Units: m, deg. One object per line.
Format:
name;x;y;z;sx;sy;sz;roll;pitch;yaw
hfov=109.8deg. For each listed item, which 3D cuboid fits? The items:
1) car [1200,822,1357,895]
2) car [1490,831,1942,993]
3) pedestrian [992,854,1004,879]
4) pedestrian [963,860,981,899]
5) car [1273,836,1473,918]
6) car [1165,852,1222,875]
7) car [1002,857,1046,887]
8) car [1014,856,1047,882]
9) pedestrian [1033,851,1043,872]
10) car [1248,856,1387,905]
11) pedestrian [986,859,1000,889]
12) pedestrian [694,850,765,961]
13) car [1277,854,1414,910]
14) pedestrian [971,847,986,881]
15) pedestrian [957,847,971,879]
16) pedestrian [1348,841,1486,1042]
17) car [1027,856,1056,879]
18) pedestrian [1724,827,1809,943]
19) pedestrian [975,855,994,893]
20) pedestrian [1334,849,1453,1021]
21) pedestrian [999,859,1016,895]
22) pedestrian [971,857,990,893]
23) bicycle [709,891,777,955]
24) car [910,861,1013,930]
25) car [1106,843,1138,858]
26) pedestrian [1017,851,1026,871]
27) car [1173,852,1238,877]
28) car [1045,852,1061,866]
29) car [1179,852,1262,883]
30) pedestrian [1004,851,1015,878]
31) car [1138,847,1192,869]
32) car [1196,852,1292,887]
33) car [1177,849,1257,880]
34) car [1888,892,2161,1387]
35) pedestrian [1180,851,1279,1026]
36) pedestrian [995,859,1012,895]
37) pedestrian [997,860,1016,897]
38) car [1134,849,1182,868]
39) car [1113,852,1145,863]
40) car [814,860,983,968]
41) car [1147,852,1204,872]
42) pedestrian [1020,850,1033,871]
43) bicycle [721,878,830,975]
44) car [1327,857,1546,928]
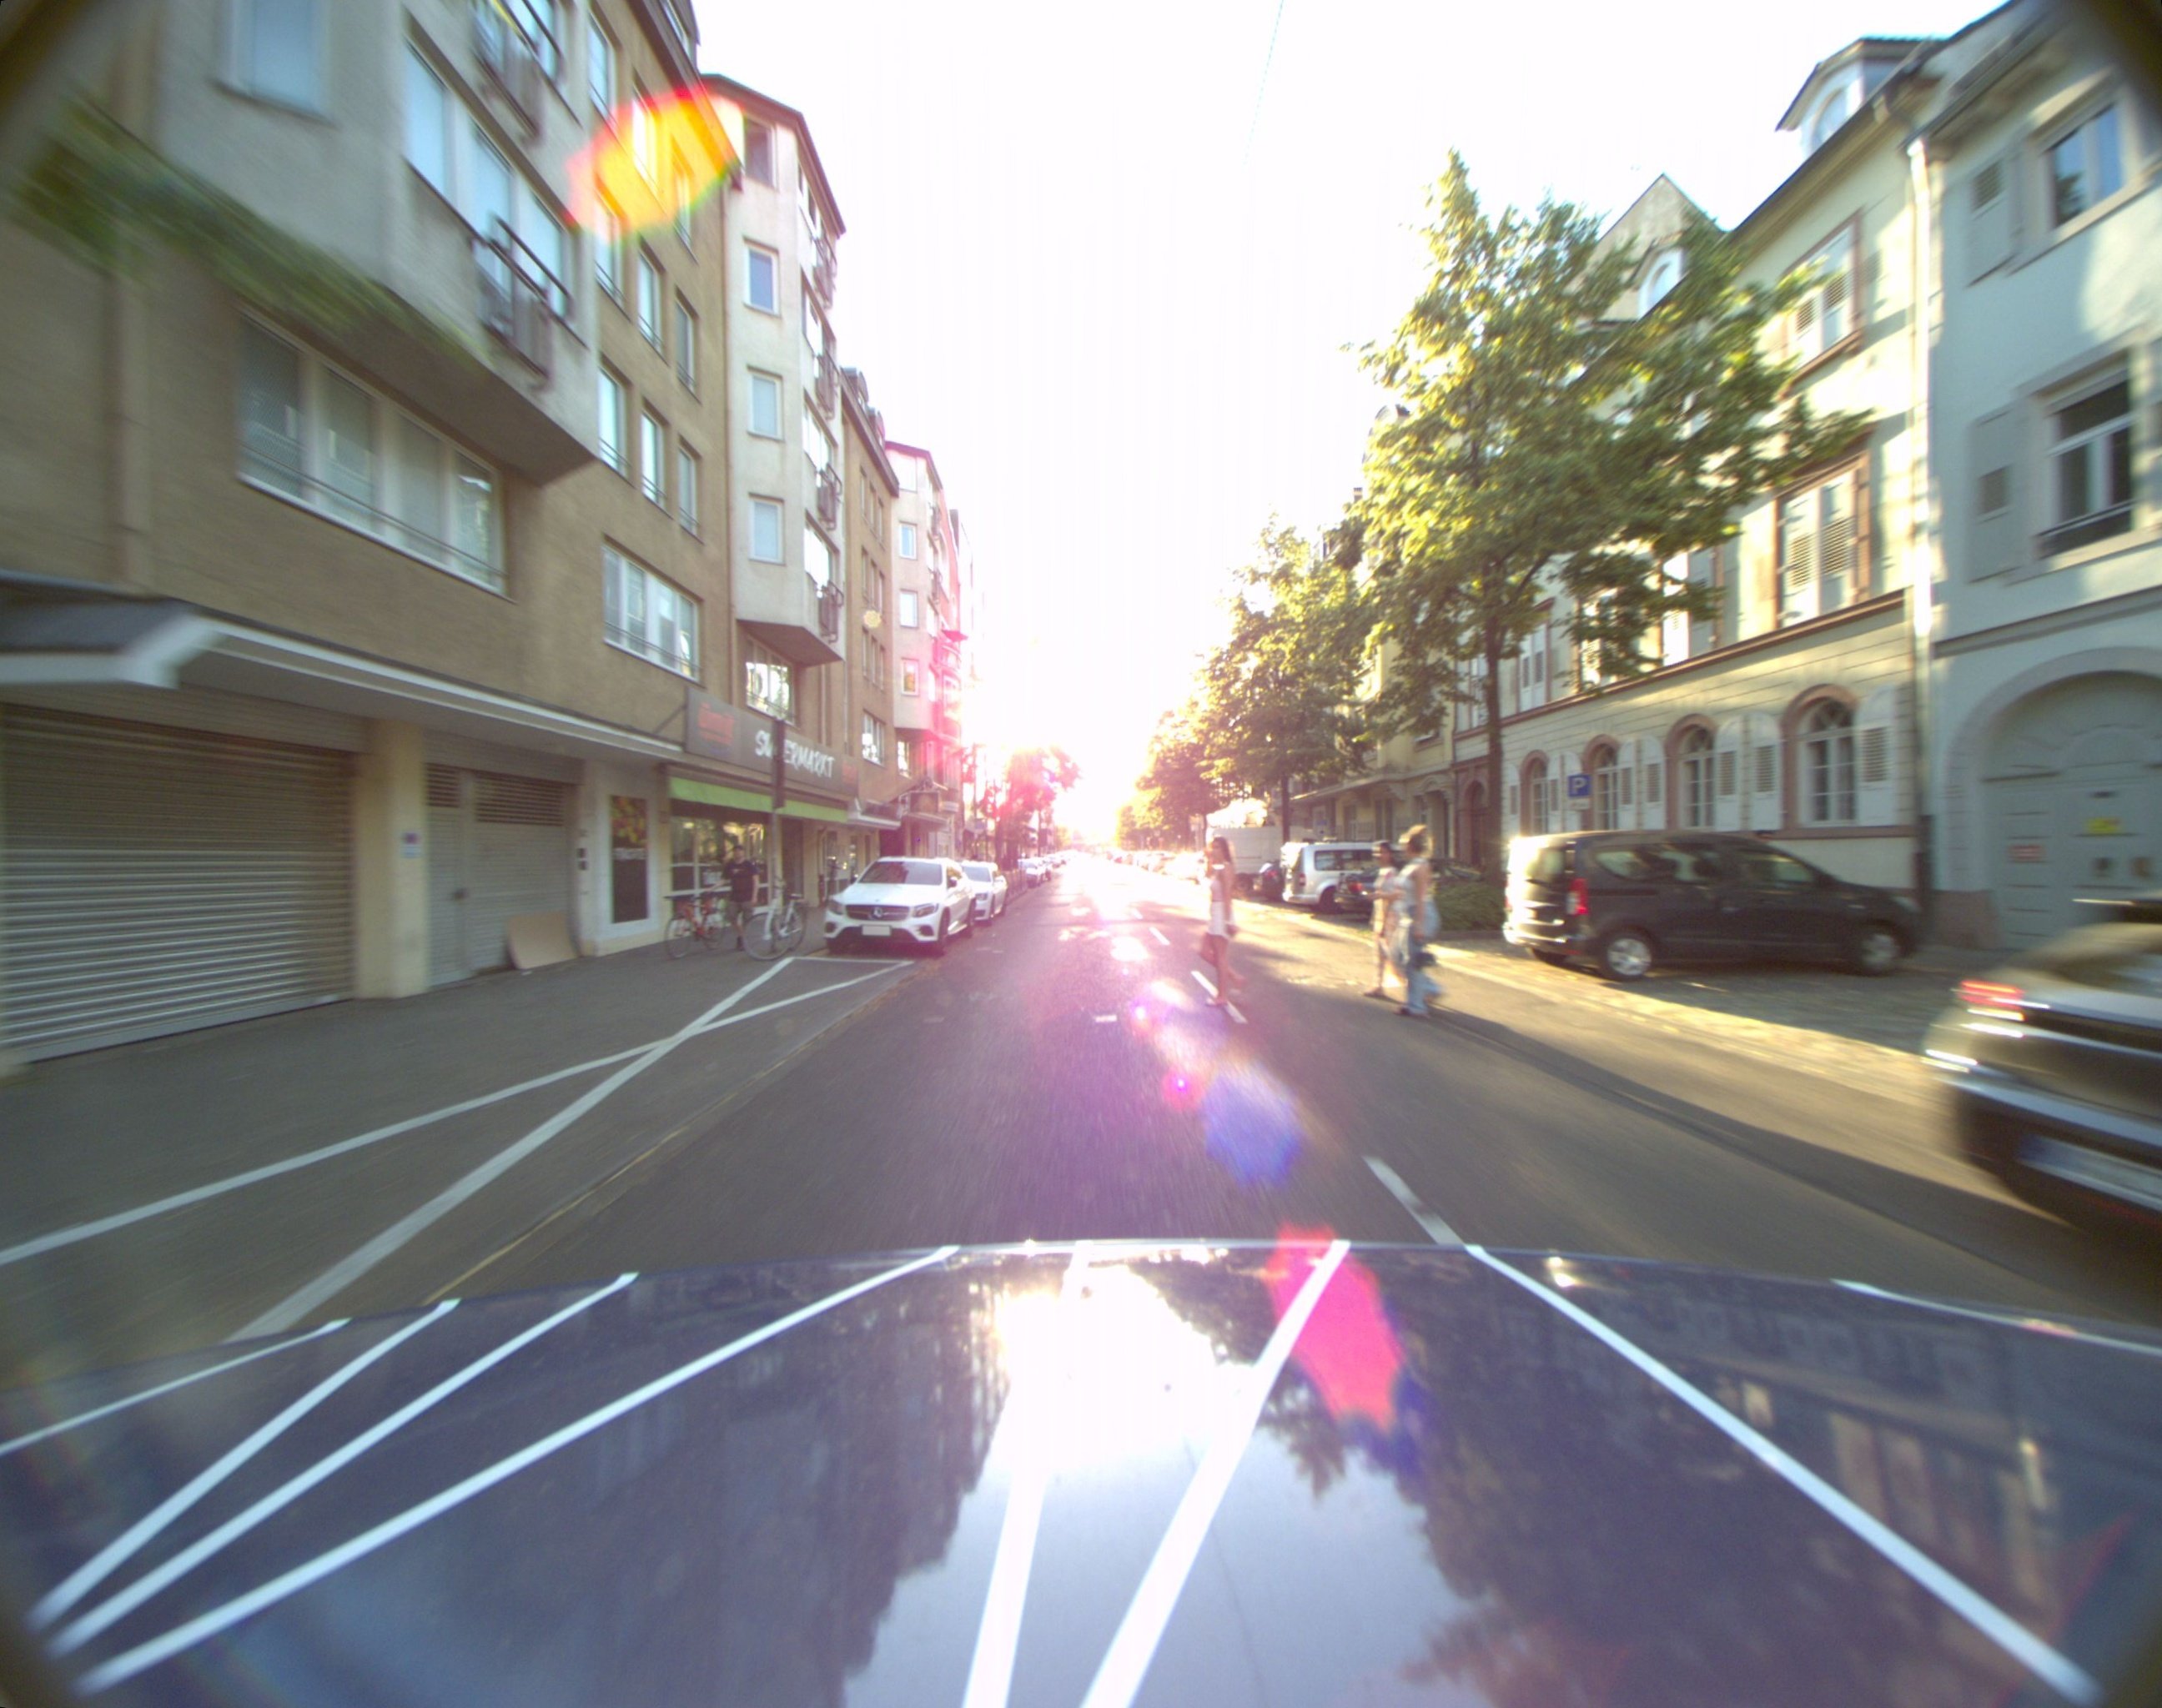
car;7.830;0.184;30.579;5.673;2.606;2.171;-2;0;0
car;7.730;0.675;9.594;4.148;1.796;1.807;-1;0;2
pedestrian;-5.062;0.745;46.242;0.626;1.480;0.640;0;1;1
pedestrian;-3.983;0.930;27.787;0.579;1.376;0.603;1;1;0
car;7.537;0.580;19.961;4.510;1.942;1.919;-1;0;2
car;8.069;0.685;54.670;3.794;1.440;1.789;-3;0;2
car;-2.980;0.926;40.828;1.779;1.431;5.000;1;0;2
car;-3.076;0.917;47.199;1.779;1.462;4.417;1;0;0
pedestrian;-3.767;0.652;66.521;0.731;1.775;0.870;3;1;0
car;7.715;0.842;25.018;3.997;1.396;1.749;-2;1;-1
pedestrian;-4.003;0.891;34.488;0.549;1.337;0.438;1;1;0
pedestrian;-5.521;0.794;11.972;0.790;1.694;0.700;0;1;0
car;7.766;0.793;22.516;3.378;1.458;1.712;-2;0;-3
pedestrian;-5.760;0.567;42.716;0.627;1.857;0.976;2;1;0
pedestrian;-6.581;0.490;42.680;0.590;1.799;0.835;2;1;0
pedestrian;3.052;0.762;6.989;0.924;1.749;0.762;0;1;1
car;-2.709;0.888;52.977;1.727;1.484;4.752;1;0;0
pedestrian;10.992;0.478;12.203;0.664;1.791;0.780;-1;1;0
pedestrian;-4.094;0.827;32.284;0.709;1.589;0.795;1;0;0
pedestrian;3.195;0.797;7.831;0.924;1.685;0.762;0;1;1
pedestrian;-2.839;0.889;29.332;0.579;1.376;0.603;1;1;0
pedestrian;-3.886;0.811;29.422;0.579;1.376;0.718;1;1;1
bicycle;-5.742;1.143;12.981;0.460;0.952;1.549;0;0;0
car;-2.963;0.966;19.937;1.846;1.472;5.189;1;0;0
car;6.844;-0.610;126.998;4.782;2.344;2.153;-1;0;-28
pedestrian;-5.341;0.634;68.297;0.756;1.748;0.812;-1;1;0
car;8.127;0.690;49.852;3.926;1.440;1.696;-3;0;-2
car;-3.468;0.596;95.485;1.759;1.638;3.793;2;0;0
car;7.671;0.729;42.067;4.197;1.474;1.970;-2;0;-1
pedestrian;-4.383;0.638;46.589;0.626;1.667;0.640;0;1;1
car;7.728;0.402;69.872;4.718;1.800;2.053;-2;0;1
car;7.801;0.731;36.639;4.223;1.497;1.793;-2;0;0
car;8.018;0.614;44.967;4.242;1.641;1.892;-2;0;-4
car;5.318;0.865;2.214;4.068;1.453;1.686;-1;0;2
pedestrian;1.440;0.789;7.495;0.829;1.629;0.827;0;1;1
pedestrian;-3.289;0.969;32.288;0.633;1.476;0.795;1;0;0
pedestrian;-2.702;0.871;27.635;0.579;1.311;0.704;1;1;1
car;7.746;0.429;76.626;4.567;1.772;1.946;-1;1;-1
car;6.976;0.501;110.056;4.579;1.548;1.809;-1;0;-37
car;-3.079;0.931;13.916;1.884;1.565;4.691;1;0;1
car;7.689;0.627;62.037;4.393;1.414;1.822;-2;0;0
pedestrian;-4.778;0.597;66.532;1.049;1.775;0.945;2;1;0
bicycle;-4.551;1.034;11.503;0.777;1.255;2.050;1;0;1
car;7.885;0.835;17.120;4.162;1.431;1.594;-1;0;2
